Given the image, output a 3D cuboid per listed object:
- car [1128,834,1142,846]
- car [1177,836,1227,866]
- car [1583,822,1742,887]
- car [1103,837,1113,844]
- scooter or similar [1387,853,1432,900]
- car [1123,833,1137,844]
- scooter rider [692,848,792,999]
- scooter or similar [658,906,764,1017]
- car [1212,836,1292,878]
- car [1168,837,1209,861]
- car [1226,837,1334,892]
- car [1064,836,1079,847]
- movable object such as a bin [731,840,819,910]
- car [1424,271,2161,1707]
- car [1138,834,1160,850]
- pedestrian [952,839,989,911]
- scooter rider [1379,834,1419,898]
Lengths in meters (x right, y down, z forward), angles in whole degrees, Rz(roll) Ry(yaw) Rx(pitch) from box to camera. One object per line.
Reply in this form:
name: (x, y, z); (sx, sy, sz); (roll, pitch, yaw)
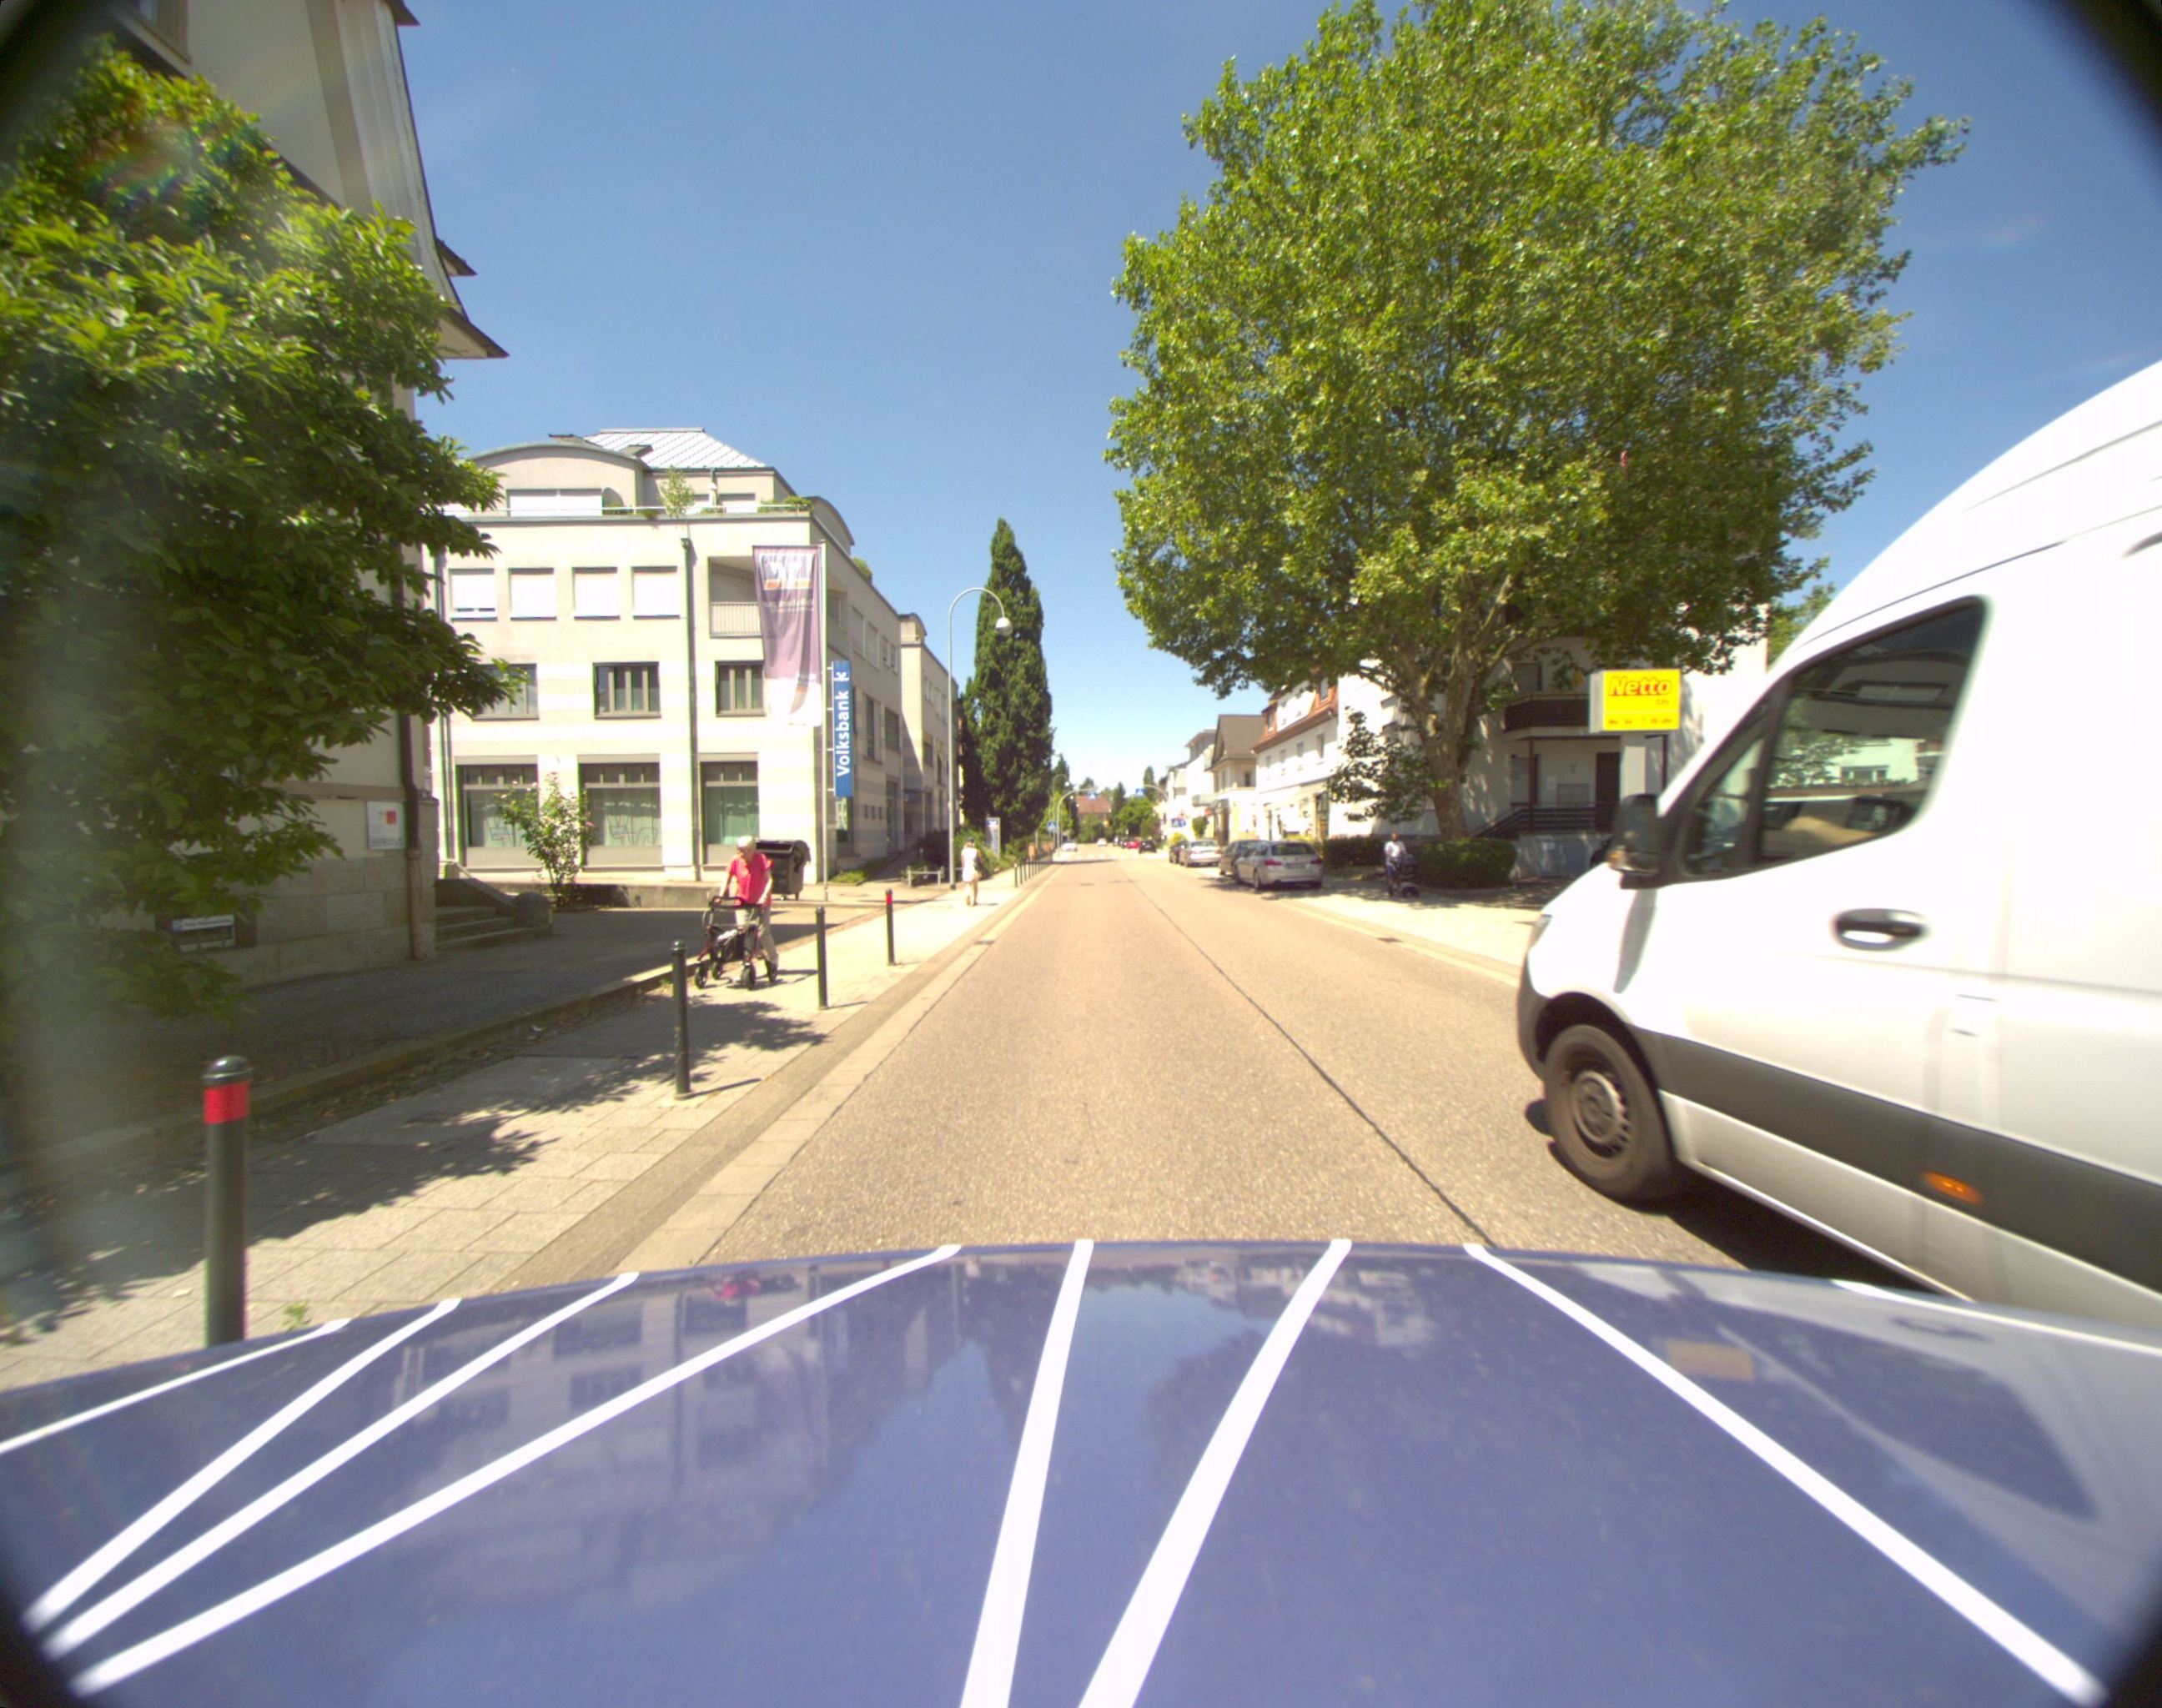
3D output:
car: (7.722, -2.017, 108.451); (1.737, 1.444, 4.259); (-4, 2, 2)
car: (6.466, -0.225, 41.167); (1.986, 1.444, 5.356); (-2, 1, 2)
car: (15.125, -0.041, 20.069); (1.809, 1.537, 4.109); (0, 2, 14)
car: (5.432, -2.705, 152.366); (1.812, 1.474, 3.867); (1, 2, -1)
scooter or similar: (8.035, 0.536, 18.622); (0.665, 1.092, 1.028); (-3, 1, 2)
car: (7.669, -2.389, 119.740); (1.925, 1.577, 4.434); (-4, 2, 2)
scooter rider: (-3.624, 0.715, 8.178); (0.718, 1.540, 0.770); (0, 2, -1)
scooter or similar: (-3.618, 1.033, 7.484); (0.665, 0.957, 0.753); (1, 2, 0)
car: (6.487, 0.044, 29.446); (1.986, 1.444, 4.866); (-2, 1, 0)
car: (6.603, -0.329, 47.234); (1.947, 1.366, 5.097); (-1, 1, 2)
car: (5.995, 0.243, 23.564); (1.986, 1.444, 5.149); (-2, 1, 0)
car: (-1.237, -1.649, 101.129); (1.920, 1.461, 4.879); (0, 2, 1)
movable object such as a bin: (-6.918, 0.447, 17.246); (1.371, 1.450, 1.380); (2, 2, 2)
car: (2.918, 0.303, 0.631); (2.041, 2.615, 7.105); (1, 1, 1)
car: (7.169, -1.296, 80.943); (1.921, 1.444, 5.148); (-4, 2, 2)
pedestrian: (-2.575, 0.468, 17.718); (0.702, 1.618, 0.783); (2, 2, 0)
scooter rider: (8.043, 0.287, 19.238); (0.590, 1.566, 0.877); (-3, 2, 2)
